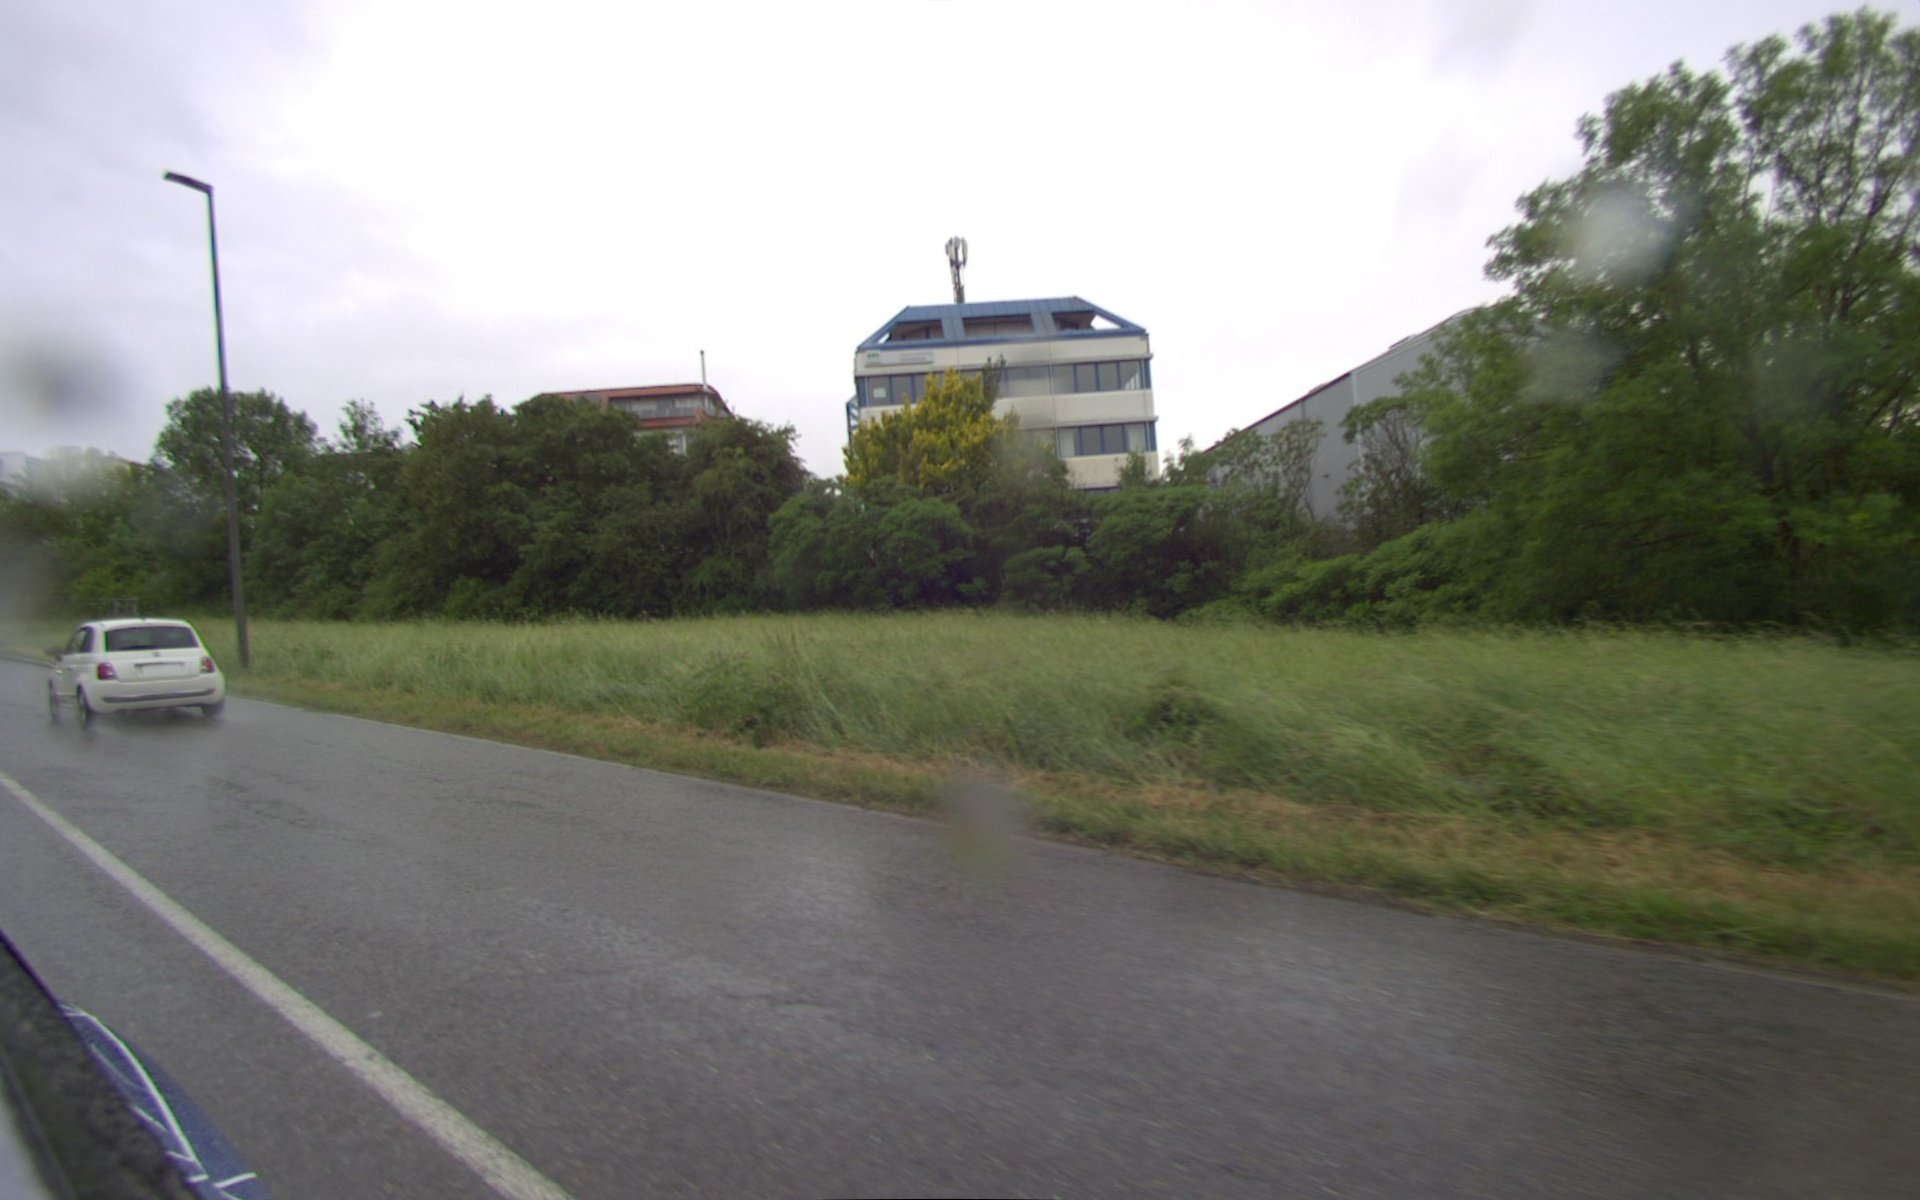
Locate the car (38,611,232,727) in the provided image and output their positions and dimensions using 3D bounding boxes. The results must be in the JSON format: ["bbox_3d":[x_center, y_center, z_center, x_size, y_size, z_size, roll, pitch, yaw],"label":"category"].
[{"bbox_3d":[-12.244,0.929,14.961,3.451,1.500,1.622,-1,-1,40],"label":"car"}]
